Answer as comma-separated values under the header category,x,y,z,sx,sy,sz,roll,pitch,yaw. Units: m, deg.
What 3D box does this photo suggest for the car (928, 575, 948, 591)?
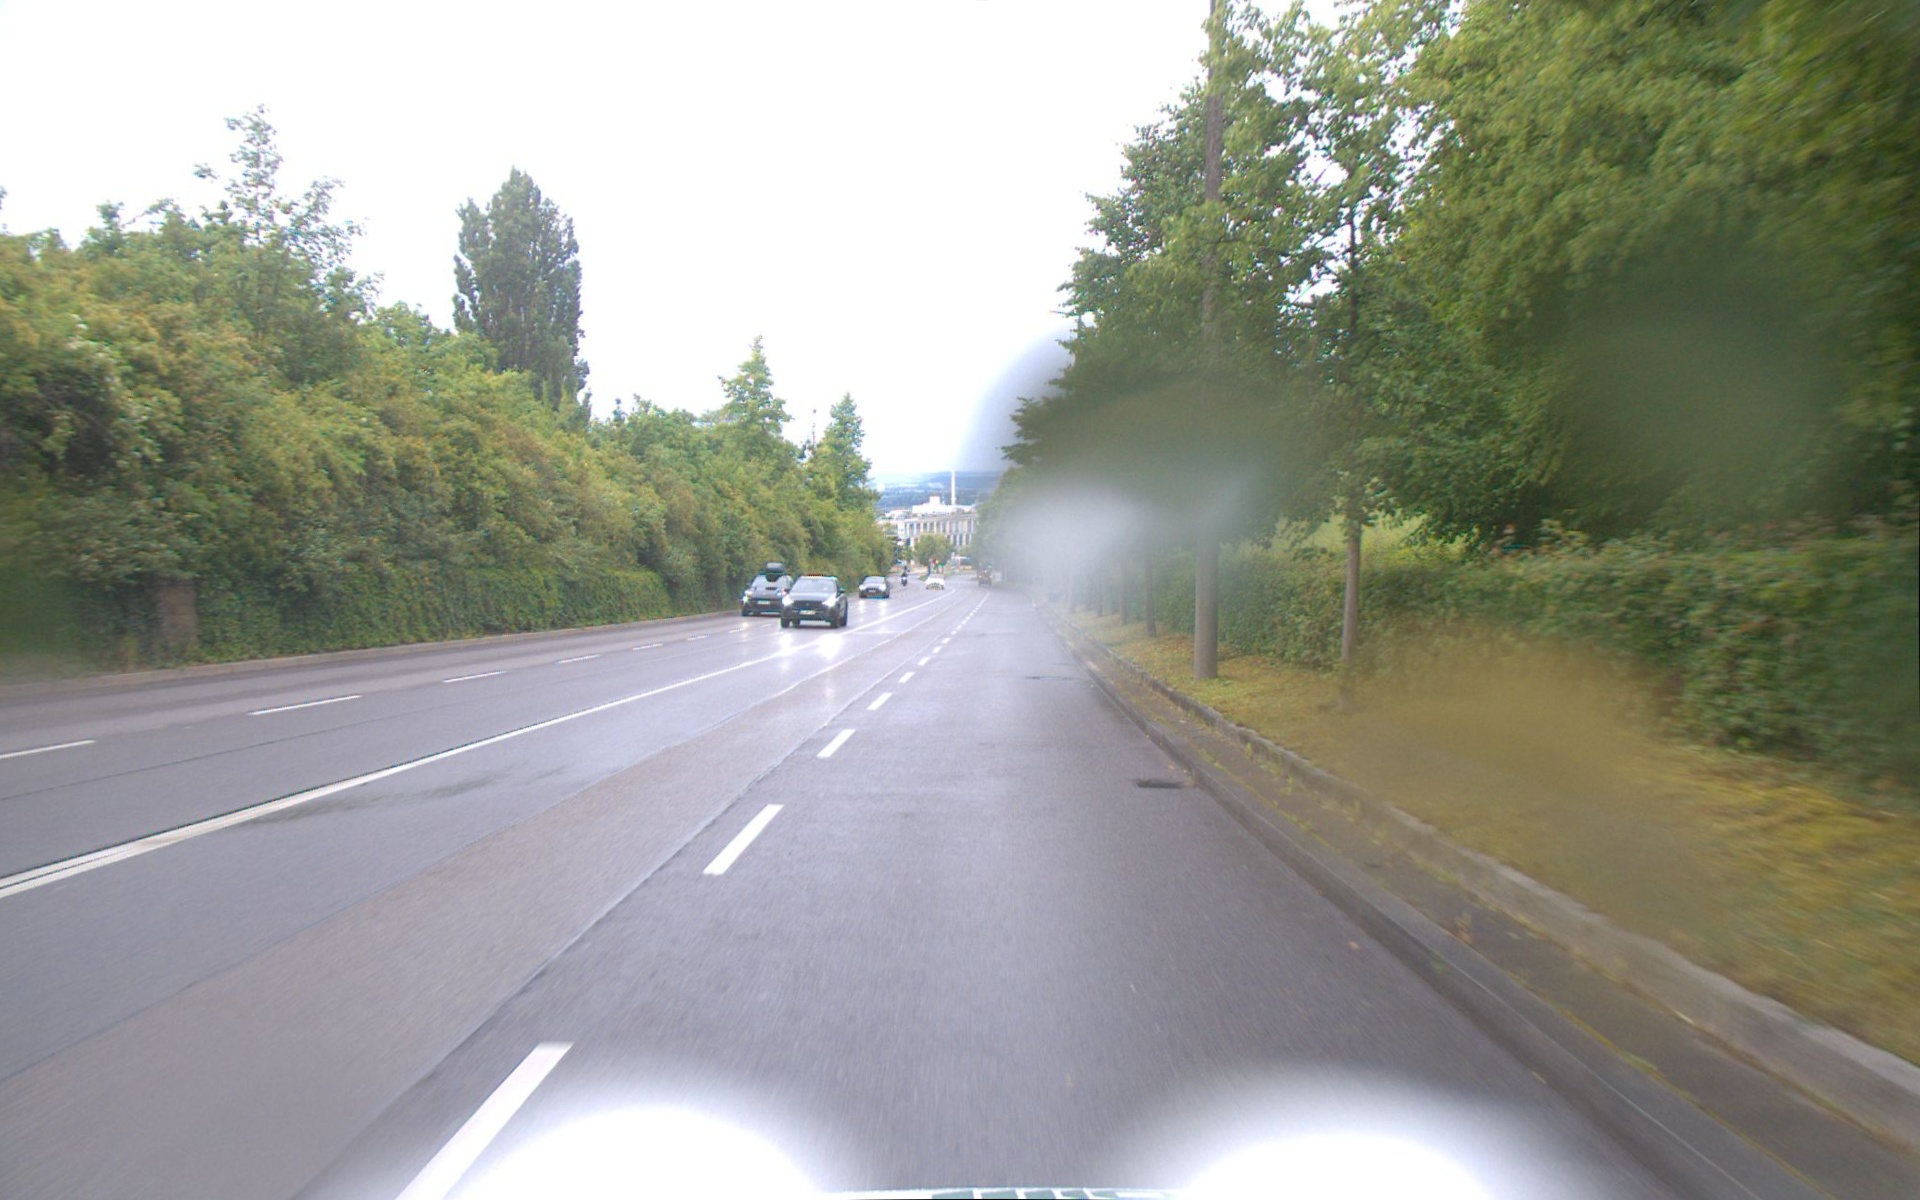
category,x,y,z,sx,sy,sz,roll,pitch,yaw
car,-2.185,-1.718,165.266,1.679,1.531,4.518,2,1,2

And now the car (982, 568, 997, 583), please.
category,x,y,z,sx,sy,sz,roll,pitch,yaw
car,3.686,-3.130,209.017,1.811,1.731,3.793,2,0,1

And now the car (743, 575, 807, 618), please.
category,x,y,z,sx,sy,sz,roll,pitch,yaw
car,-7.369,-0.157,66.294,1.859,1.580,4.632,2,1,2

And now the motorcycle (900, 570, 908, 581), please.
category,x,y,z,sx,sy,sz,roll,pitch,yaw
motorcycle,-6.441,-2.804,189.224,0.788,1.151,2.232,1,1,2

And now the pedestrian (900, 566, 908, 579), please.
category,x,y,z,sx,sy,sz,roll,pitch,yaw
pedestrian,-6.435,-3.148,189.239,0.788,1.568,1.111,1,1,2

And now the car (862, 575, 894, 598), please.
category,x,y,z,sx,sy,sz,roll,pitch,yaw
car,-5.533,-0.902,111.953,1.723,1.405,4.840,2,2,2

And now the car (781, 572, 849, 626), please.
category,x,y,z,sx,sy,sz,roll,pitch,yaw
car,-4.814,-0.065,55.395,1.775,1.686,4.596,1,1,1
